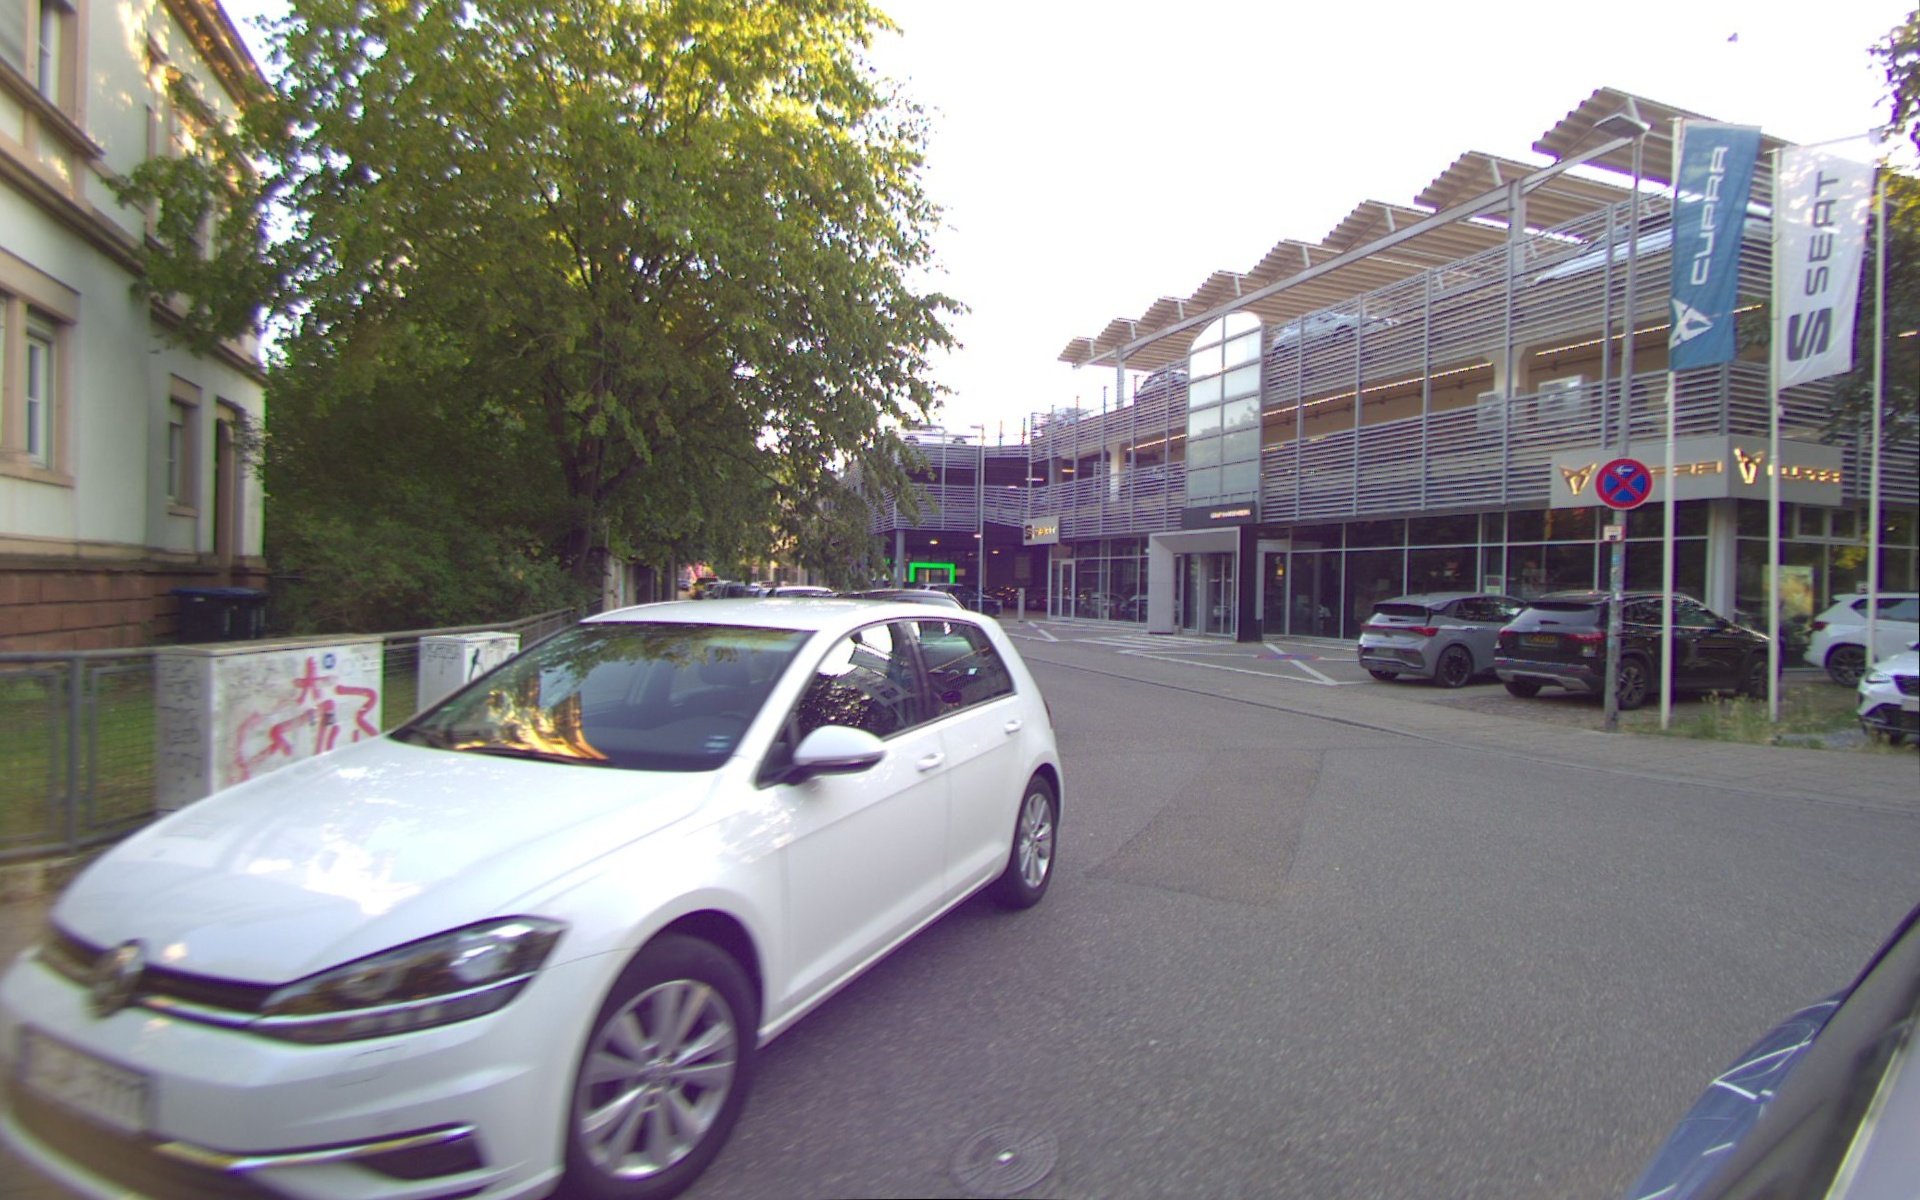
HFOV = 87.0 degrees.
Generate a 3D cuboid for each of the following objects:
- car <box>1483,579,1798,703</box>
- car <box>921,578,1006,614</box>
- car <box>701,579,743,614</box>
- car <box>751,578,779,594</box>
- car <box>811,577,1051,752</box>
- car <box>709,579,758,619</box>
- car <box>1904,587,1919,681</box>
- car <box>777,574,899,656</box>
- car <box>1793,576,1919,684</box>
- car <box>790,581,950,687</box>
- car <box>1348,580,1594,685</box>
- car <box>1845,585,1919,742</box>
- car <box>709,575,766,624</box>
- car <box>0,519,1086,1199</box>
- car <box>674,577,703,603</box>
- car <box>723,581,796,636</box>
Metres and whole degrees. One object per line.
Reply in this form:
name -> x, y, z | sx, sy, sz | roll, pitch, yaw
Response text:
car -> 9.882, 0.514, 14.723 | 4.040, 1.626, 1.722 | 0, 1, -19
car -> 0.150, -0.206, 50.345 | 3.844, 1.587, 1.637 | 2, 0, -17
car -> -10.831, -0.200, 45.991 | 1.598, 1.472, 3.775 | 2, 1, -16
car -> -16.958, -1.206, 87.917 | 1.837, 1.303, 3.409 | 2, 1, -19
car -> -0.520, 0.539, 11.236 | 1.598, 1.564, 3.952 | 0, 1, -18
car -> -9.252, -0.080, 41.120 | 1.598, 1.472, 3.775 | 2, 1, -17
car -> 18.305, 0.642, 15.984 | 1.833, 1.636, 4.601 | 1, 0, -22
car -> -2.524, 0.248, 20.220 | 1.598, 1.453, 3.694 | 2, 0, -20
car -> 15.880, 0.485, 15.405 | 1.833, 1.664, 4.601 | 1, 0, -22
car -> -1.568, 0.462, 16.215 | 1.598, 1.452, 3.793 | 2, 1, -20
car -> 8.841, 0.495, 17.573 | 3.616, 1.611, 1.710 | -1, 1, -17
car -> 11.639, 0.692, 10.787 | 3.820, 1.592, 1.772 | 1, 1, -22
car -> -8.042, -0.064, 36.393 | 1.598, 1.587, 4.139 | 2, 1, -17
car -> -0.965, 0.637, 3.907 | 1.793, 1.520, 4.138 | 0, 0, 24
car -> -16.484, -0.620, 61.383 | 1.598, 1.472, 3.774 | 2, 1, -15
car -> -5.996, 0.204, 29.916 | 1.598, 1.452, 4.139 | 2, 1, -18
